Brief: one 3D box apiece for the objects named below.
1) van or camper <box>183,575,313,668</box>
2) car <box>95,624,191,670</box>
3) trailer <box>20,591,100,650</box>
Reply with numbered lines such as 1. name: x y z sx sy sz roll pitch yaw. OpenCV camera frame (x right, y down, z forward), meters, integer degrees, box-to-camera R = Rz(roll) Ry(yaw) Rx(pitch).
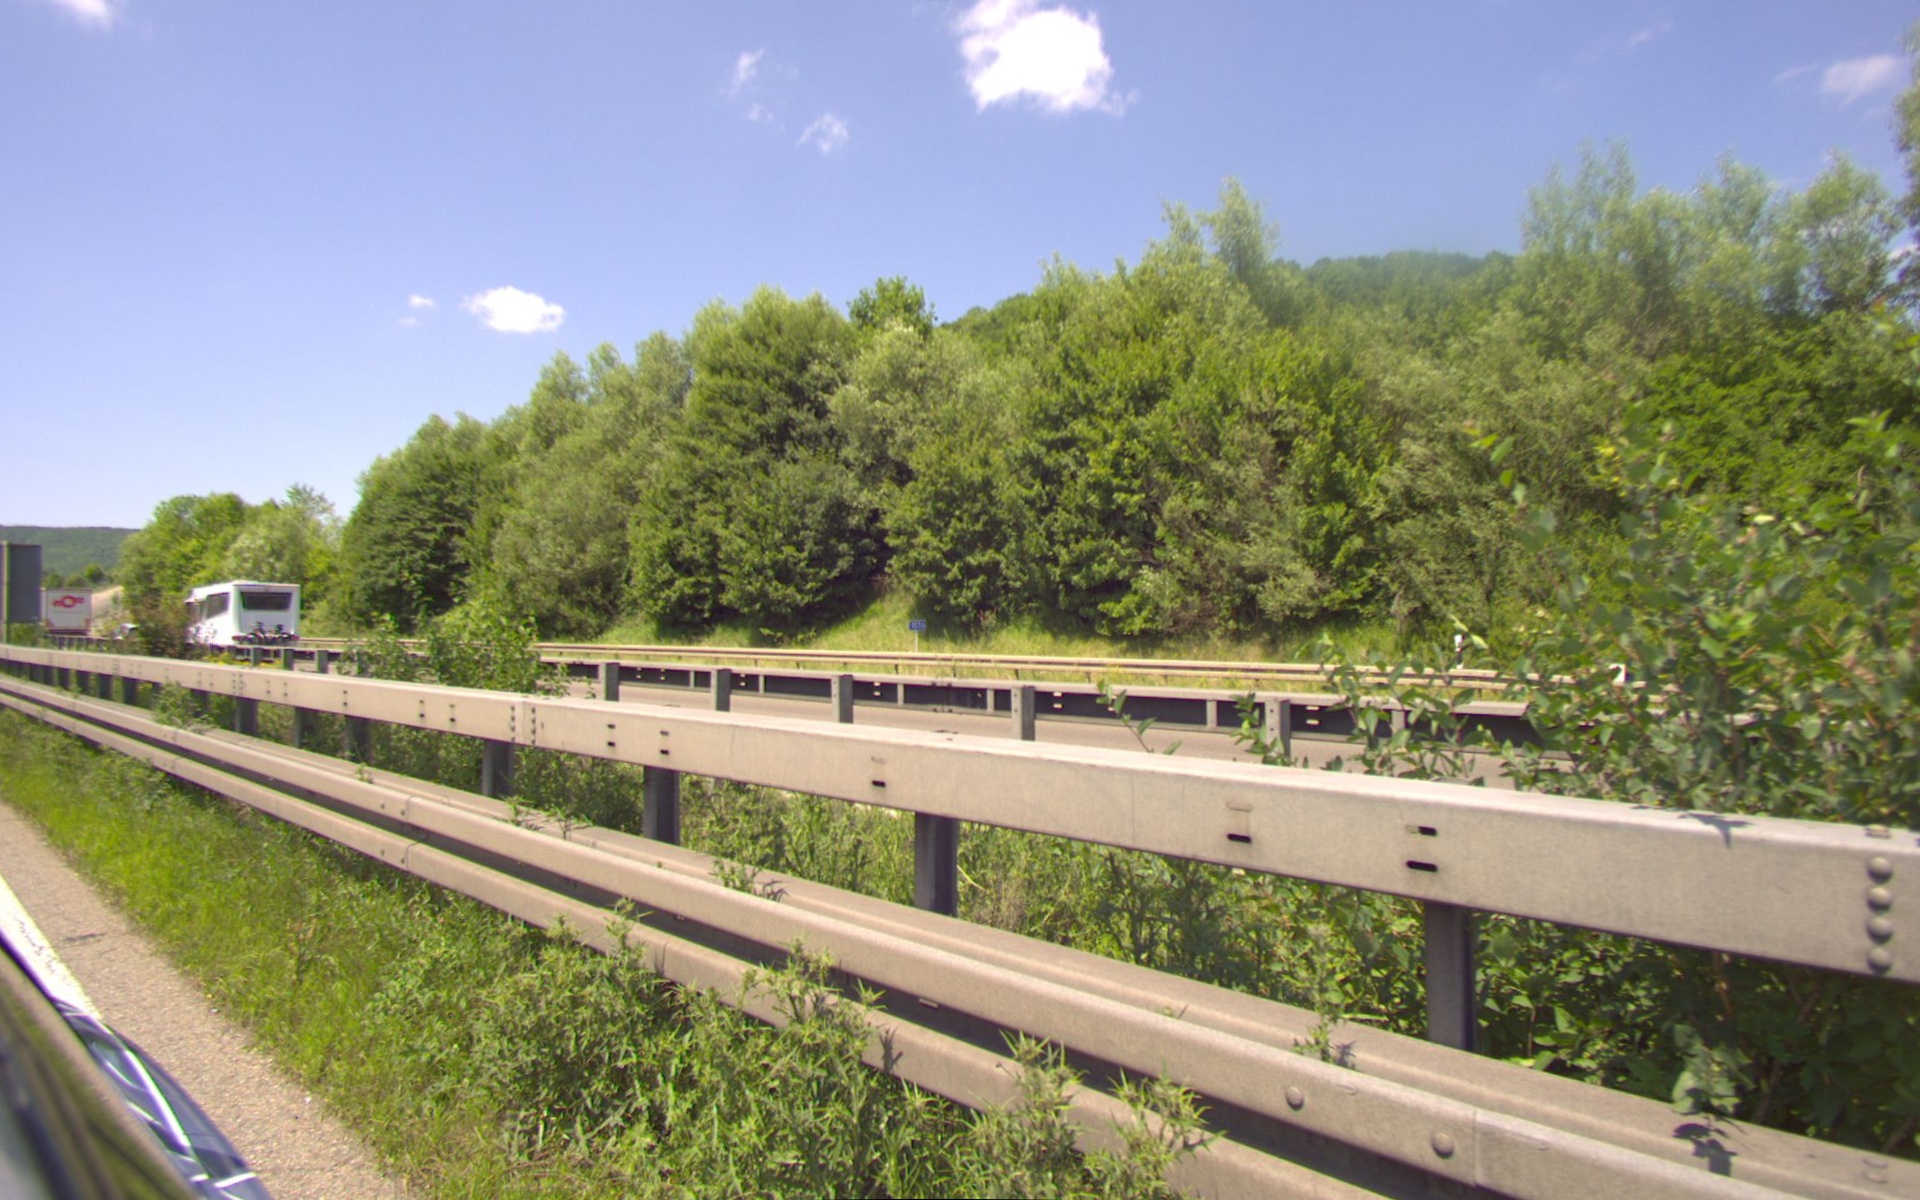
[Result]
1. van or camper: -28.361 0.866 40.162 7.645 3.361 2.562 -2 -2 42
2. car: -28.324 1.598 35.041 4.533 1.475 1.779 -1 -1 40
3. trailer: -67.205 1.568 75.392 14.153 4.030 2.753 -1 -2 42
